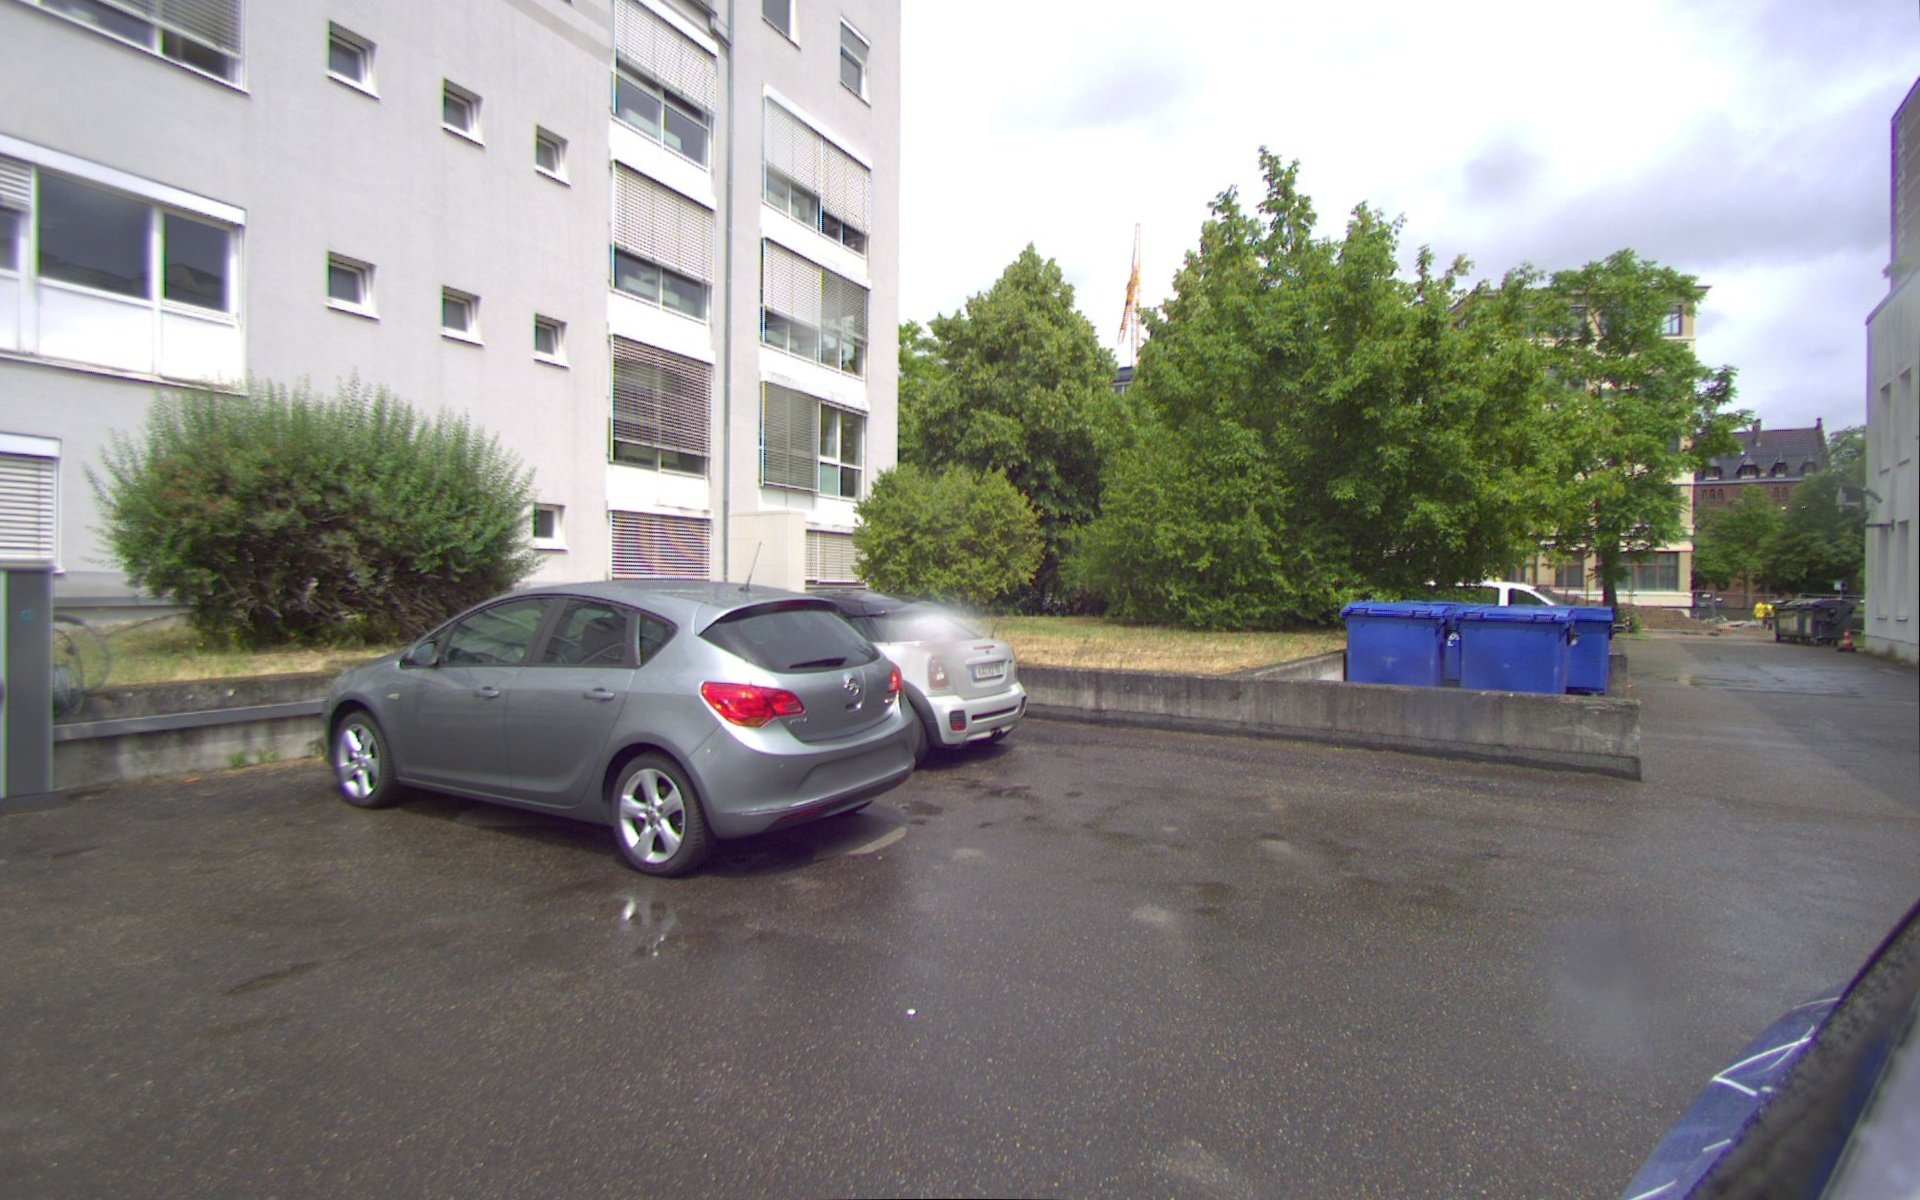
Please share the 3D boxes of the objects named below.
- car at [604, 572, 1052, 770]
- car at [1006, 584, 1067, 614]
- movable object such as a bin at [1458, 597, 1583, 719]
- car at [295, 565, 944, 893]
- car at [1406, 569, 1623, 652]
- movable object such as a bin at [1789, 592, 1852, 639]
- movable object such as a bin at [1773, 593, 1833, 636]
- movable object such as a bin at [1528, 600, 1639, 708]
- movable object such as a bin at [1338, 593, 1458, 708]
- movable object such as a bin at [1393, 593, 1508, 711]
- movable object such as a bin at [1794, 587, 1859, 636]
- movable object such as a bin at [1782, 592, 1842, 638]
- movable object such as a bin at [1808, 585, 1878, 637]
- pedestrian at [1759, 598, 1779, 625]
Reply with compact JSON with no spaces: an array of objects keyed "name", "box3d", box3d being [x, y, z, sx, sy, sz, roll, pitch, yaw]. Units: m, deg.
[{"name":"car","box3d":[-1.322,0.500,9.509,3.972,1.371,1.770,3,2,33]},{"name":"car","box3d":[3.901,-0.019,51.108,1.959,1.427,4.016,-1,-1,23]},{"name":"movable object such as a bin","box3d":[6.679,0.651,12.050,1.224,1.334,1.043,1,0,33]},{"name":"car","box3d":[-2.257,0.538,6.413,4.058,1.476,1.651,2,2,30]},{"name":"car","box3d":[14.809,0.239,27.180,4.924,2.039,1.974,0,1,37]},{"name":"movable object such as a bin","box3d":[27.972,0.495,32.949,1.354,1.489,1.336,-1,-1,33]},{"name":"movable object such as a bin","box3d":[29.624,0.511,35.614,1.403,1.489,1.542,-1,-1,33]},{"name":"movable object such as a bin","box3d":[8.151,0.676,13.254,1.169,1.334,1.043,-1,-1,33]},{"name":"movable object such as a bin","box3d":[5.544,0.606,12.788,1.224,1.334,1.043,1,0,33]},{"name":"movable object such as a bin","box3d":[6.664,0.679,13.738,1.269,1.502,1.088,-1,-1,33]},{"name":"movable object such as a bin","box3d":[27.199,0.353,31.804,1.354,1.489,1.349,-1,-1,33]},{"name":"movable object such as a bin","box3d":[28.732,0.499,34.164,1.354,1.489,1.448,-1,-1,33]},{"name":"movable object such as a bin","box3d":[26.400,0.336,30.292,1.354,1.489,1.349,-1,-1,33]},{"name":"pedestrian","box3d":[46.830,0.641,58.609,0.636,1.528,0.626,1,0,-7]}]
